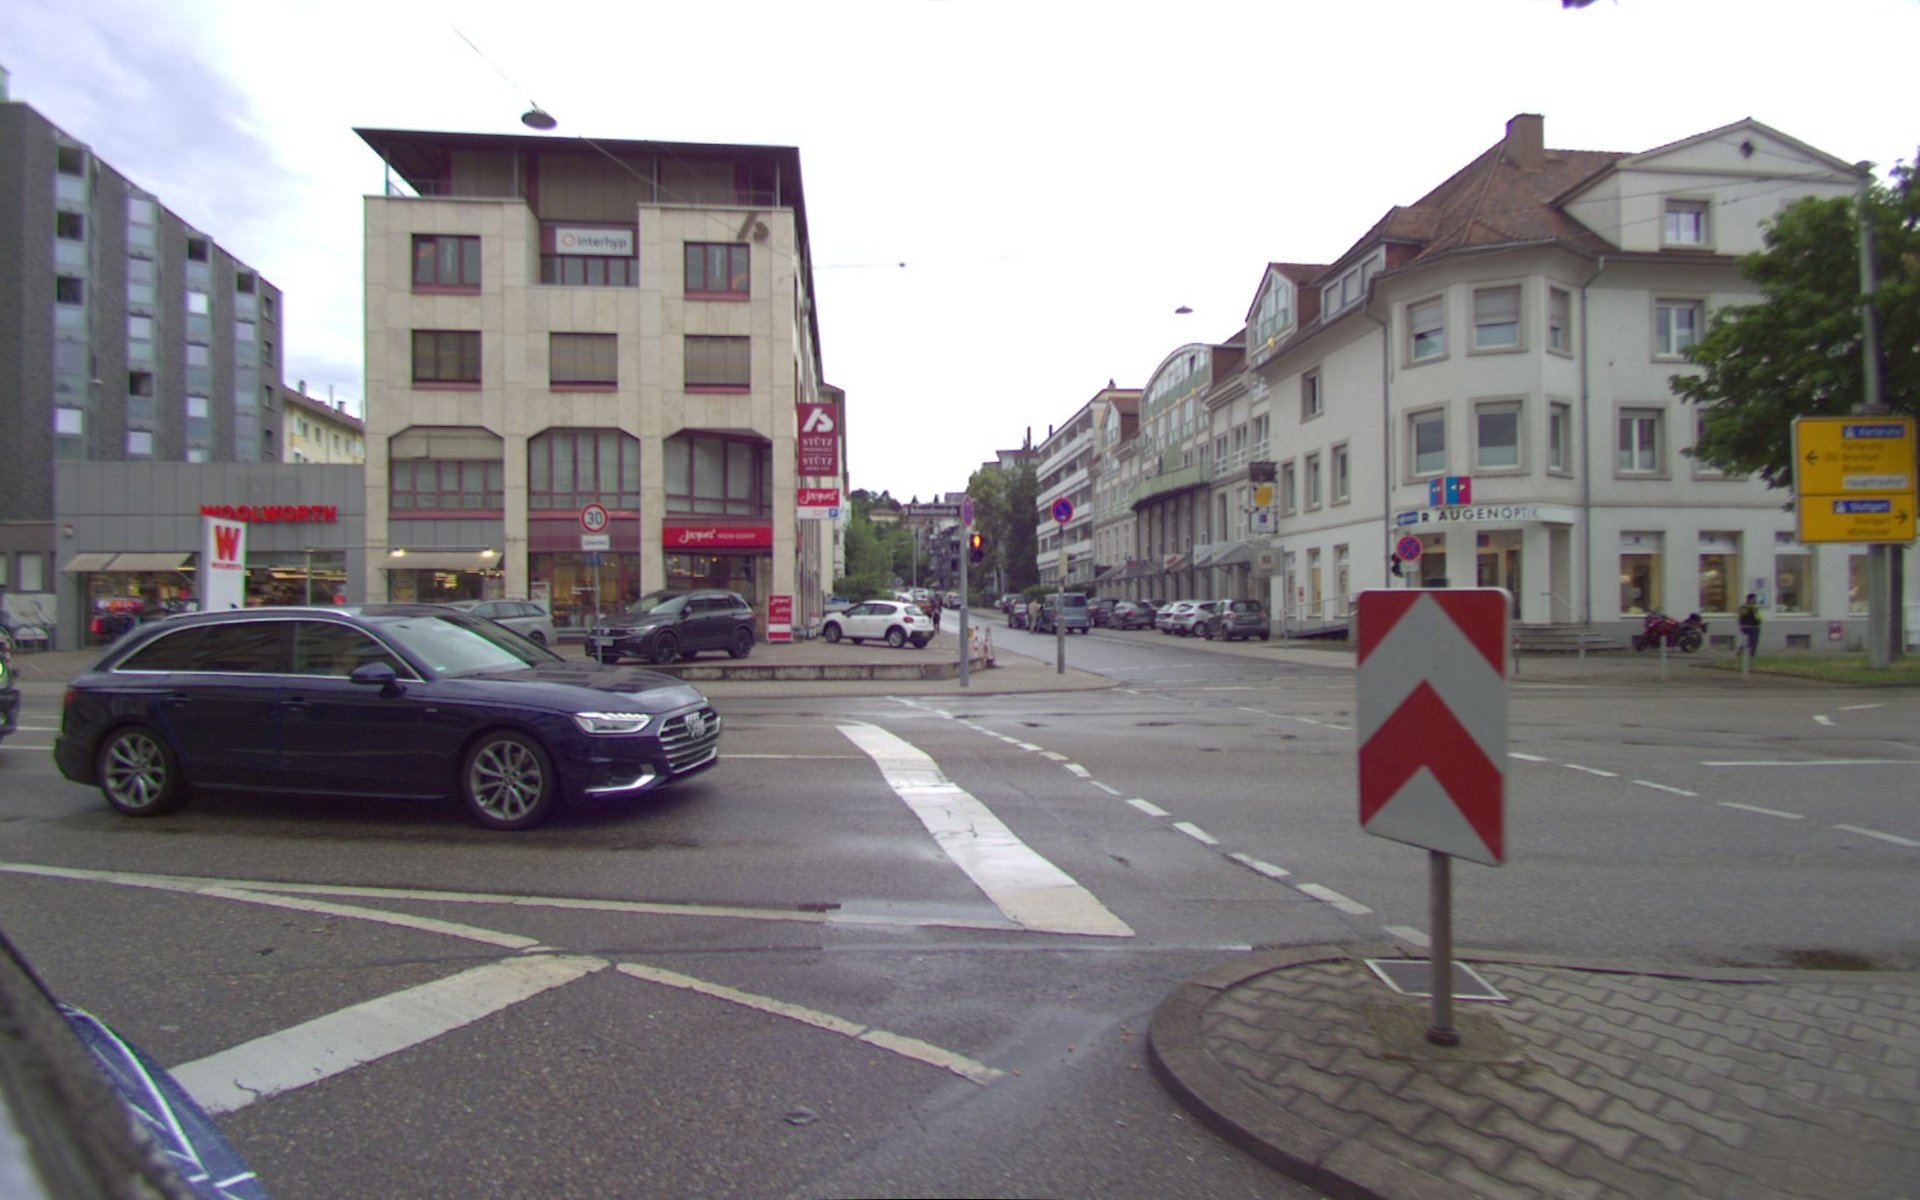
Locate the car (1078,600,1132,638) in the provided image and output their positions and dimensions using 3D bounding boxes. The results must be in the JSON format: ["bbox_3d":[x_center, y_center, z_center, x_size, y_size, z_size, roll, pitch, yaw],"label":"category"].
[{"bbox_3d":[8.024,1.072,56.368,1.968,2.029,4.007,0,-1,-8],"label":"car"}]

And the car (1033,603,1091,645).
[{"bbox_3d":[5.012,1.175,50.296,1.968,2.029,4.007,0,-1,-8],"label":"car"}]

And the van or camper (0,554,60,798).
[{"bbox_3d":[-10.586,0.689,8.931,4.097,2.163,1.854,-1,-1,11],"label":"van or camper"}]

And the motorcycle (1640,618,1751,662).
[{"bbox_3d":[20.281,1.089,27.934,2.552,1.187,0.722,0,-1,-1],"label":"motorcycle"}]

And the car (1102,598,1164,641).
[{"bbox_3d":[8.633,0.968,50.826,1.969,2.029,4.006,0,-1,-7],"label":"car"}]

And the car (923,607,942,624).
[{"bbox_3d":[-3.349,1.823,122.014,1.969,2.029,4.005,0,-1,-6],"label":"car"}]

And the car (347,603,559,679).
[{"bbox_3d":[-11.548,0.856,23.432,1.870,1.538,4.435,0,0,17],"label":"car"}]

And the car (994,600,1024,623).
[{"bbox_3d":[4.388,1.010,90.799,1.968,2.029,4.007,0,-1,-8],"label":"car"}]

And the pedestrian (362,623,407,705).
[{"bbox_3d":[-11.216,1.227,19.741,0.500,1.541,0.764,0,1,-7],"label":"pedestrian"}]

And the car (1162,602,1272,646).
[{"bbox_3d":[10.679,0.983,42.244,3.935,1.743,2.004,0,-1,-10],"label":"car"}]

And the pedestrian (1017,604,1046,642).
[{"bbox_3d":[3.599,1.157,50.899,1.179,1.842,1.059,-1,-1,23],"label":"pedestrian"}]

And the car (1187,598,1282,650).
[{"bbox_3d":[10.185,0.876,37.904,1.968,1.829,4.007,0,-1,-8],"label":"car"}]

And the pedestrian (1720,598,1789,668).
[{"bbox_3d":[20.107,0.827,25.628,0.919,1.721,0.967,-1,-1,-12],"label":"pedestrian"}]

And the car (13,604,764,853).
[{"bbox_3d":[-3.921,0.760,7.243,4.633,1.416,1.803,0,0,11],"label":"car"}]

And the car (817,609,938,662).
[{"bbox_3d":[-2.750,1.142,33.629,3.744,1.511,1.567,3,0,29],"label":"car"}]

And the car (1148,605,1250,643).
[{"bbox_3d":[10.499,1.054,44.599,3.936,1.603,1.878,0,-1,-9],"label":"car"}]

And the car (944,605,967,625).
[{"bbox_3d":[-0.516,1.602,106.574,2.076,2.029,4.005,0,-1,-6],"label":"car"}]

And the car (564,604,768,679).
[{"bbox_3d":[-6.465,0.876,22.792,1.945,1.517,4.390,0,-1,28],"label":"car"}]

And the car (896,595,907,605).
[{"bbox_3d":[-11.571,0.053,200.312,1.969,2.029,4.006,0,-1,-6],"label":"car"}]

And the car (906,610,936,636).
[{"bbox_3d":[-3.274,1.884,83.732,1.967,2.029,4.008,0,-1,-10],"label":"car"}]

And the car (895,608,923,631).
[{"bbox_3d":[-4.529,1.704,89.215,1.967,2.029,4.008,0,-1,-10],"label":"car"}]
